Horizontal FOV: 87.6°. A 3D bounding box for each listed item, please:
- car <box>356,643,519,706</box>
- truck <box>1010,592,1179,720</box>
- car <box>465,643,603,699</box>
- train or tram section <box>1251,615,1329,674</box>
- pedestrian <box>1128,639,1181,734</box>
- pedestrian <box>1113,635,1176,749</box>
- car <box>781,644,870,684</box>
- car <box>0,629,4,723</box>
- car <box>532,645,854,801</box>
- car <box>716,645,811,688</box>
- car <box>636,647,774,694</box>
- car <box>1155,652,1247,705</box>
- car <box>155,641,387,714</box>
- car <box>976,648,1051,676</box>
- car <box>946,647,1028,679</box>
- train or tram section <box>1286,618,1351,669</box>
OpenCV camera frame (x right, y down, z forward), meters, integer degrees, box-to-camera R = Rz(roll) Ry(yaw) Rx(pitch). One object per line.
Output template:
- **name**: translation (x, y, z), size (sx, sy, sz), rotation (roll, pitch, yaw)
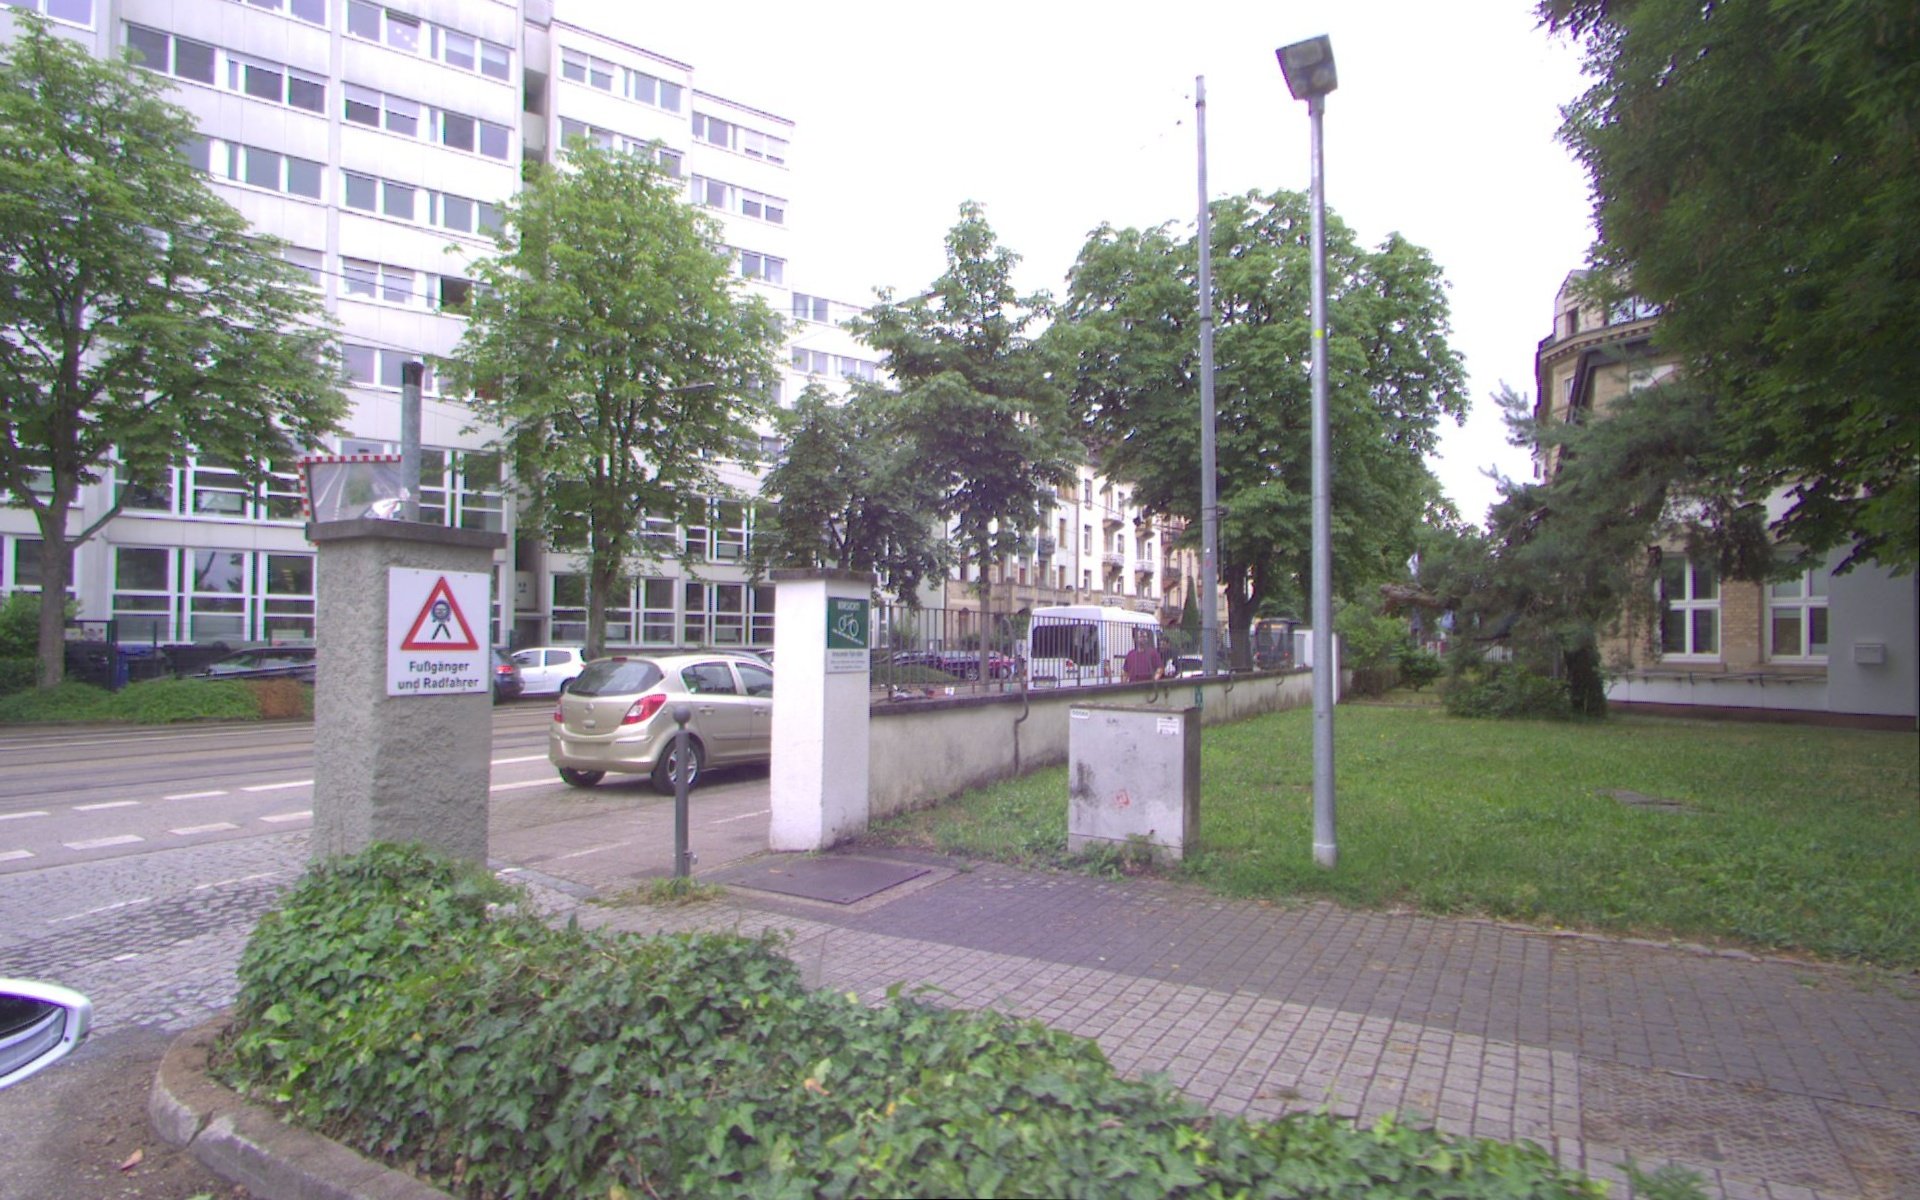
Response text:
- **car**: translation (-12.927, 1.819, 24.943), size (3.328, 1.492, 1.415), rotation (0, -2, -14)
- **truck**: translation (3.191, 1.237, 22.753), size (2.137, 2.578, 4.908), rotation (-1, -2, 30)
- **car**: translation (-11.779, 1.948, 27.885), size (3.328, 1.492, 1.415), rotation (0, -2, -14)
- **train or tram section**: translation (22.795, 3.019, 68.635), size (2.628, 3.660, 12.406), rotation (-1, -2, 30)
- **pedestrian**: translation (3.706, 1.625, 19.017), size (0.789, 1.740, 0.953), rotation (-1, -2, 24)
- **pedestrian**: translation (2.950, 1.439, 15.988), size (0.795, 1.740, 0.953), rotation (0, -2, 24)
- **car**: translation (-5.266, 2.496, 39.219), size (3.328, 1.492, 1.415), rotation (1, -2, -14)
- **car**: translation (-18.215, 1.293, 16.413), size (3.344, 1.638, 1.556), rotation (0, -2, -12)
- **car**: translation (-2.985, 1.313, 11.878), size (1.641, 1.519, 3.579), rotation (-1, -3, 30)
- **car**: translation (-7.159, 2.410, 36.414), size (3.328, 1.492, 1.416), rotation (1, -2, -14)
- **car**: translation (-8.565, 2.373, 33.693), size (4.420, 1.491, 1.416), rotation (1, -4, -18)
- **car**: translation (7.008, 2.198, 28.900), size (1.783, 1.371, 3.799), rotation (-1, -2, 27)
- **car**: translation (-15.133, 1.675, 22.231), size (3.885, 1.492, 1.671), rotation (1, -2, -18)
- **car**: translation (2.830, 3.299, 53.235), size (3.723, 1.460, 1.692), rotation (1, -2, -9)
- **car**: translation (1.271, 3.027, 48.214), size (3.723, 1.460, 1.692), rotation (1, -2, -9)
- **train or tram section**: translation (28.033, 3.375, 77.883), size (2.628, 3.660, 12.406), rotation (-1, -2, 30)
